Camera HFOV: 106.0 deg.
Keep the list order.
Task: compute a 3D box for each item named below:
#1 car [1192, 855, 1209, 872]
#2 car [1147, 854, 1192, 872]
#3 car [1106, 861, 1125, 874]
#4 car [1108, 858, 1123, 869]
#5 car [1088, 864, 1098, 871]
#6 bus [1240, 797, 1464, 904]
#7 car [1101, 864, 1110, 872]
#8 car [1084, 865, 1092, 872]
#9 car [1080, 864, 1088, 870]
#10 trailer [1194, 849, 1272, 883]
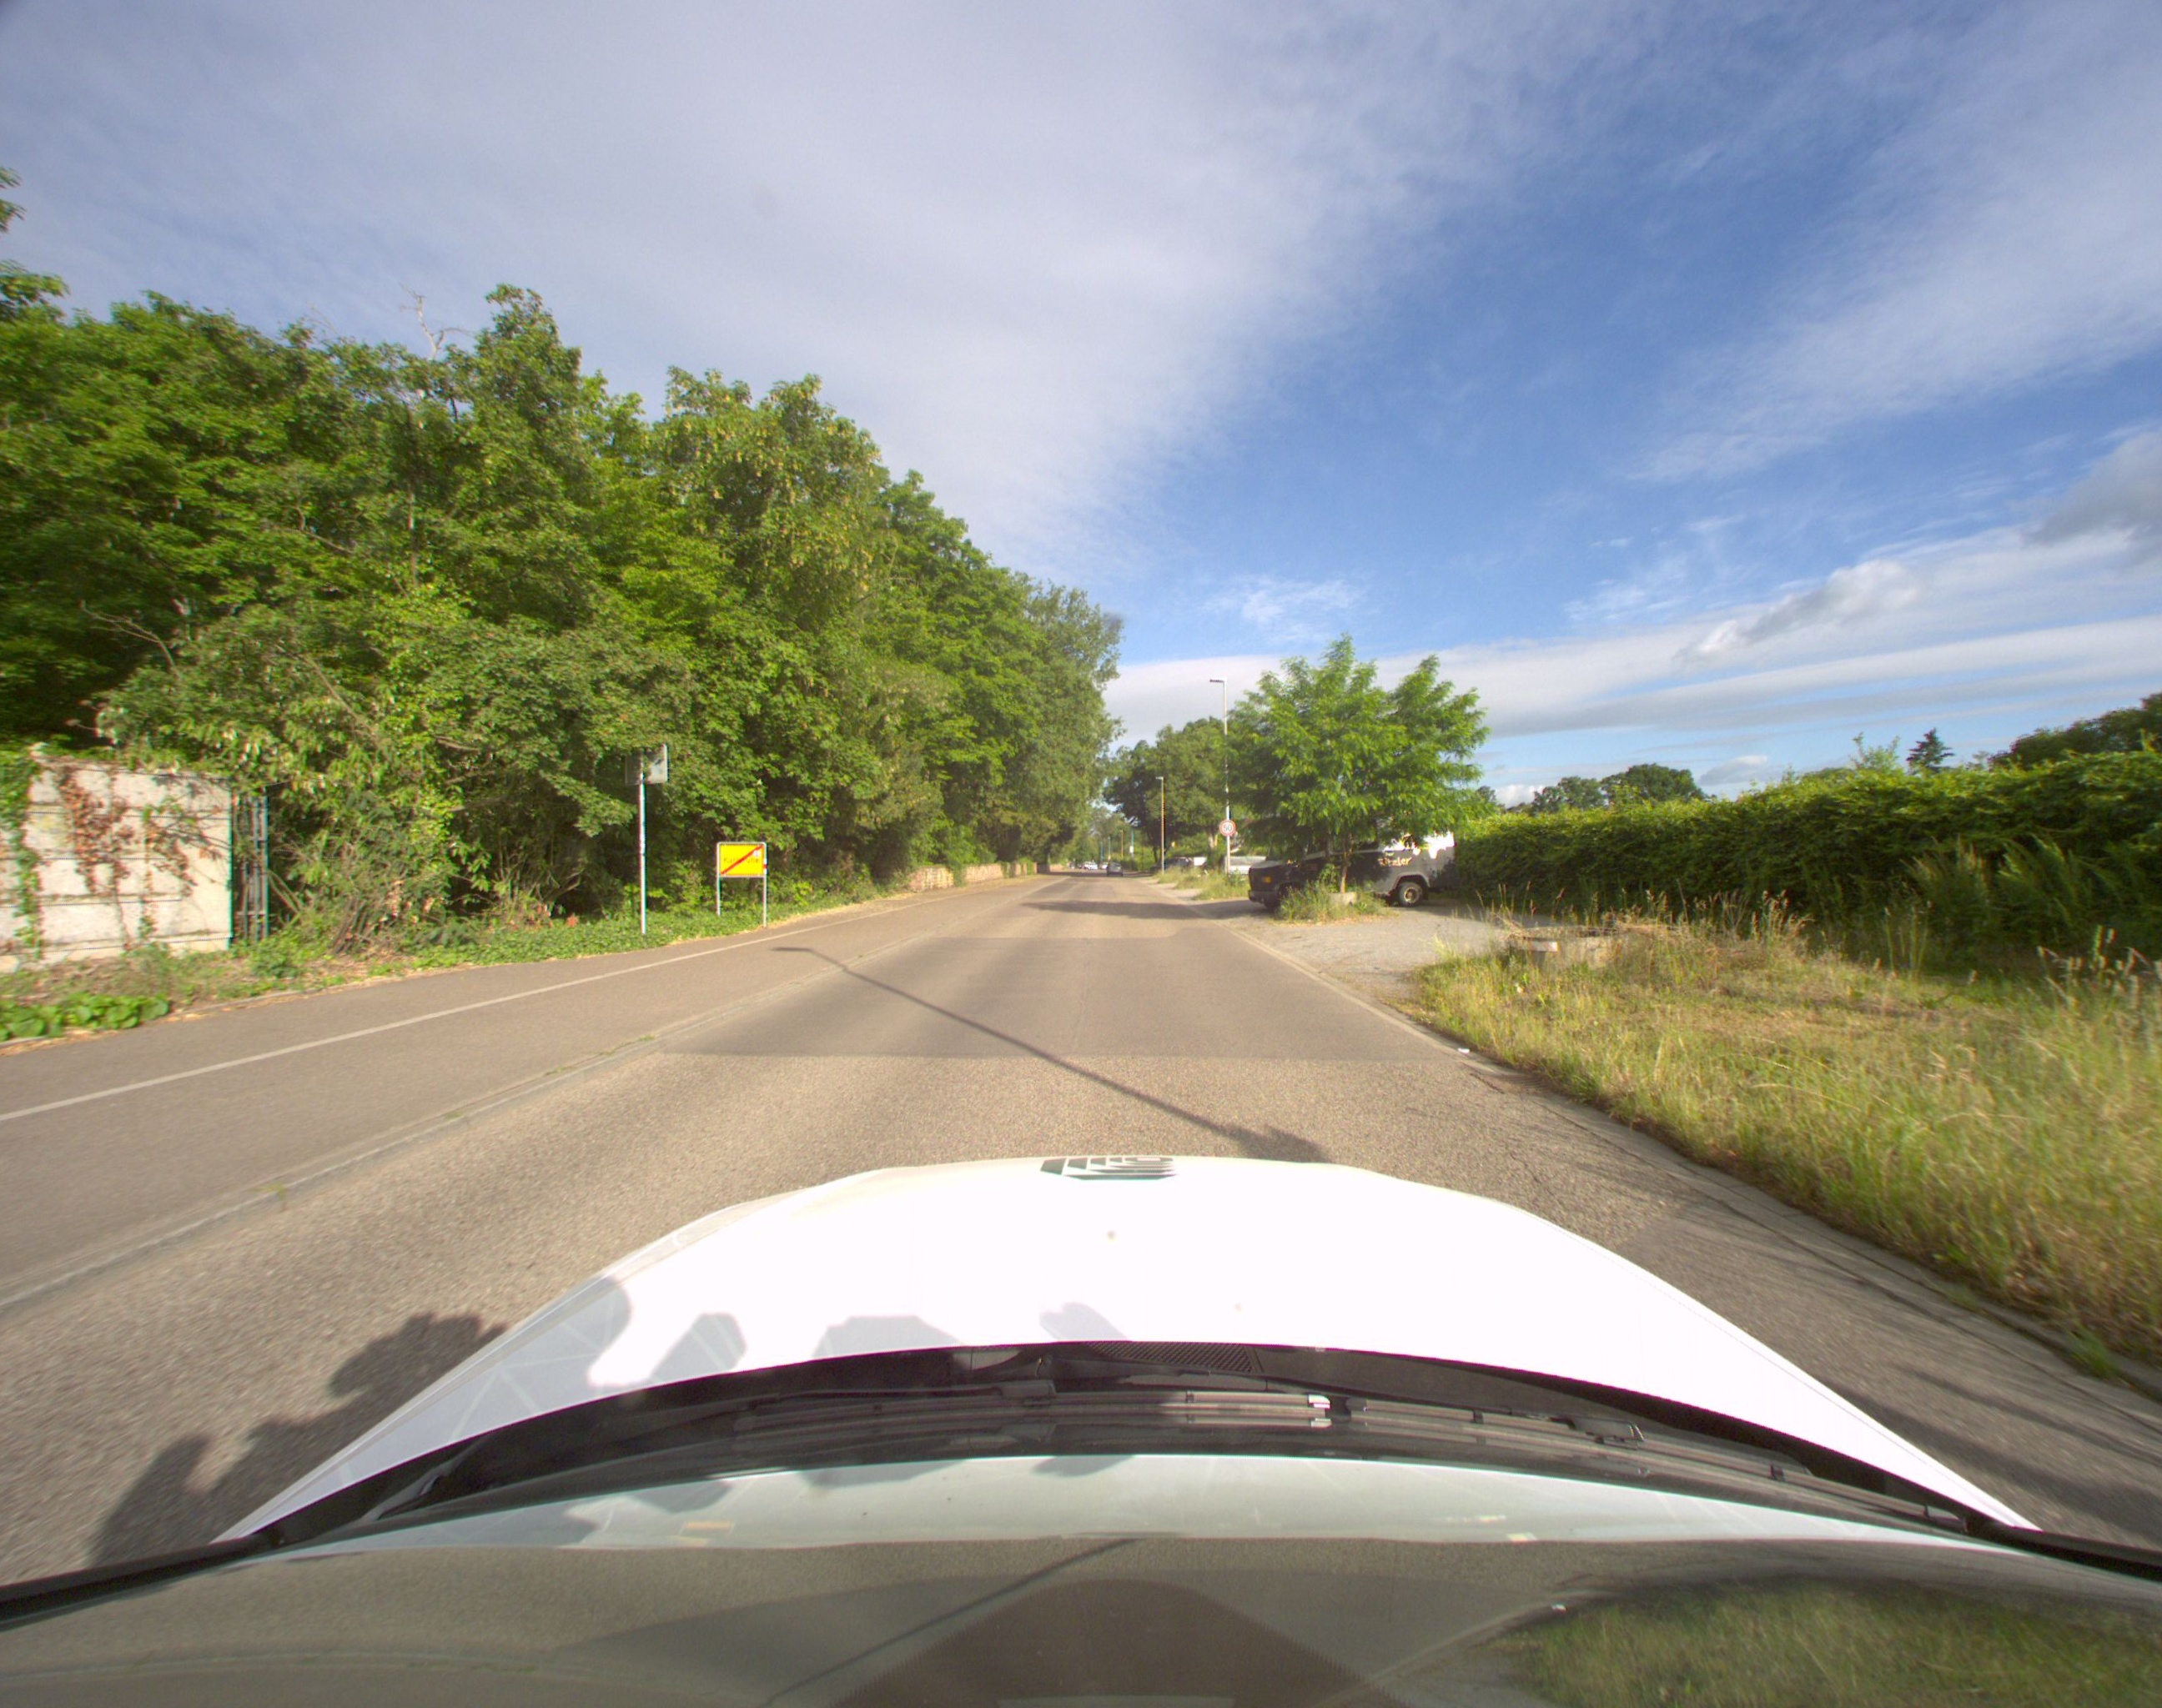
[{"bbox_3d":[12.005,0.979,81.577,1.342,1.633,4.124,-2,-2,12],"label":"car"},{"bbox_3d":[9.080,0.959,83.649,4.386,1.647,2.001,-2,-2,2],"label":"car"},{"bbox_3d":[3.660,1.483,87.722,1.880,1.372,4.054,1,-2,0],"label":"car"},{"bbox_3d":[4.833,1.299,113.688,1.880,1.465,4.054,1,-2,0],"label":"car"},{"bbox_3d":[2.428,2.770,165.766,1.881,1.372,4.052,1,-2,-1],"label":"car"},{"bbox_3d":[7.175,-0.077,21.944,5.350,2.747,2.067,0,-1,-2],"label":"bus"},{"bbox_3d":[5.117,2.950,169.198,1.880,1.613,4.054,1,-2,0],"label":"car"},{"bbox_3d":[1.703,3.433,195.334,1.880,1.613,4.054,1,-2,0],"label":"car"},{"bbox_3d":[0.830,3.686,224.141,1.880,1.613,4.054,1,-2,0],"label":"car"},{"bbox_3d":[8.395,0.689,45.282,4.132,1.835,1.919,0,-2,5],"label":"trailer"}]
